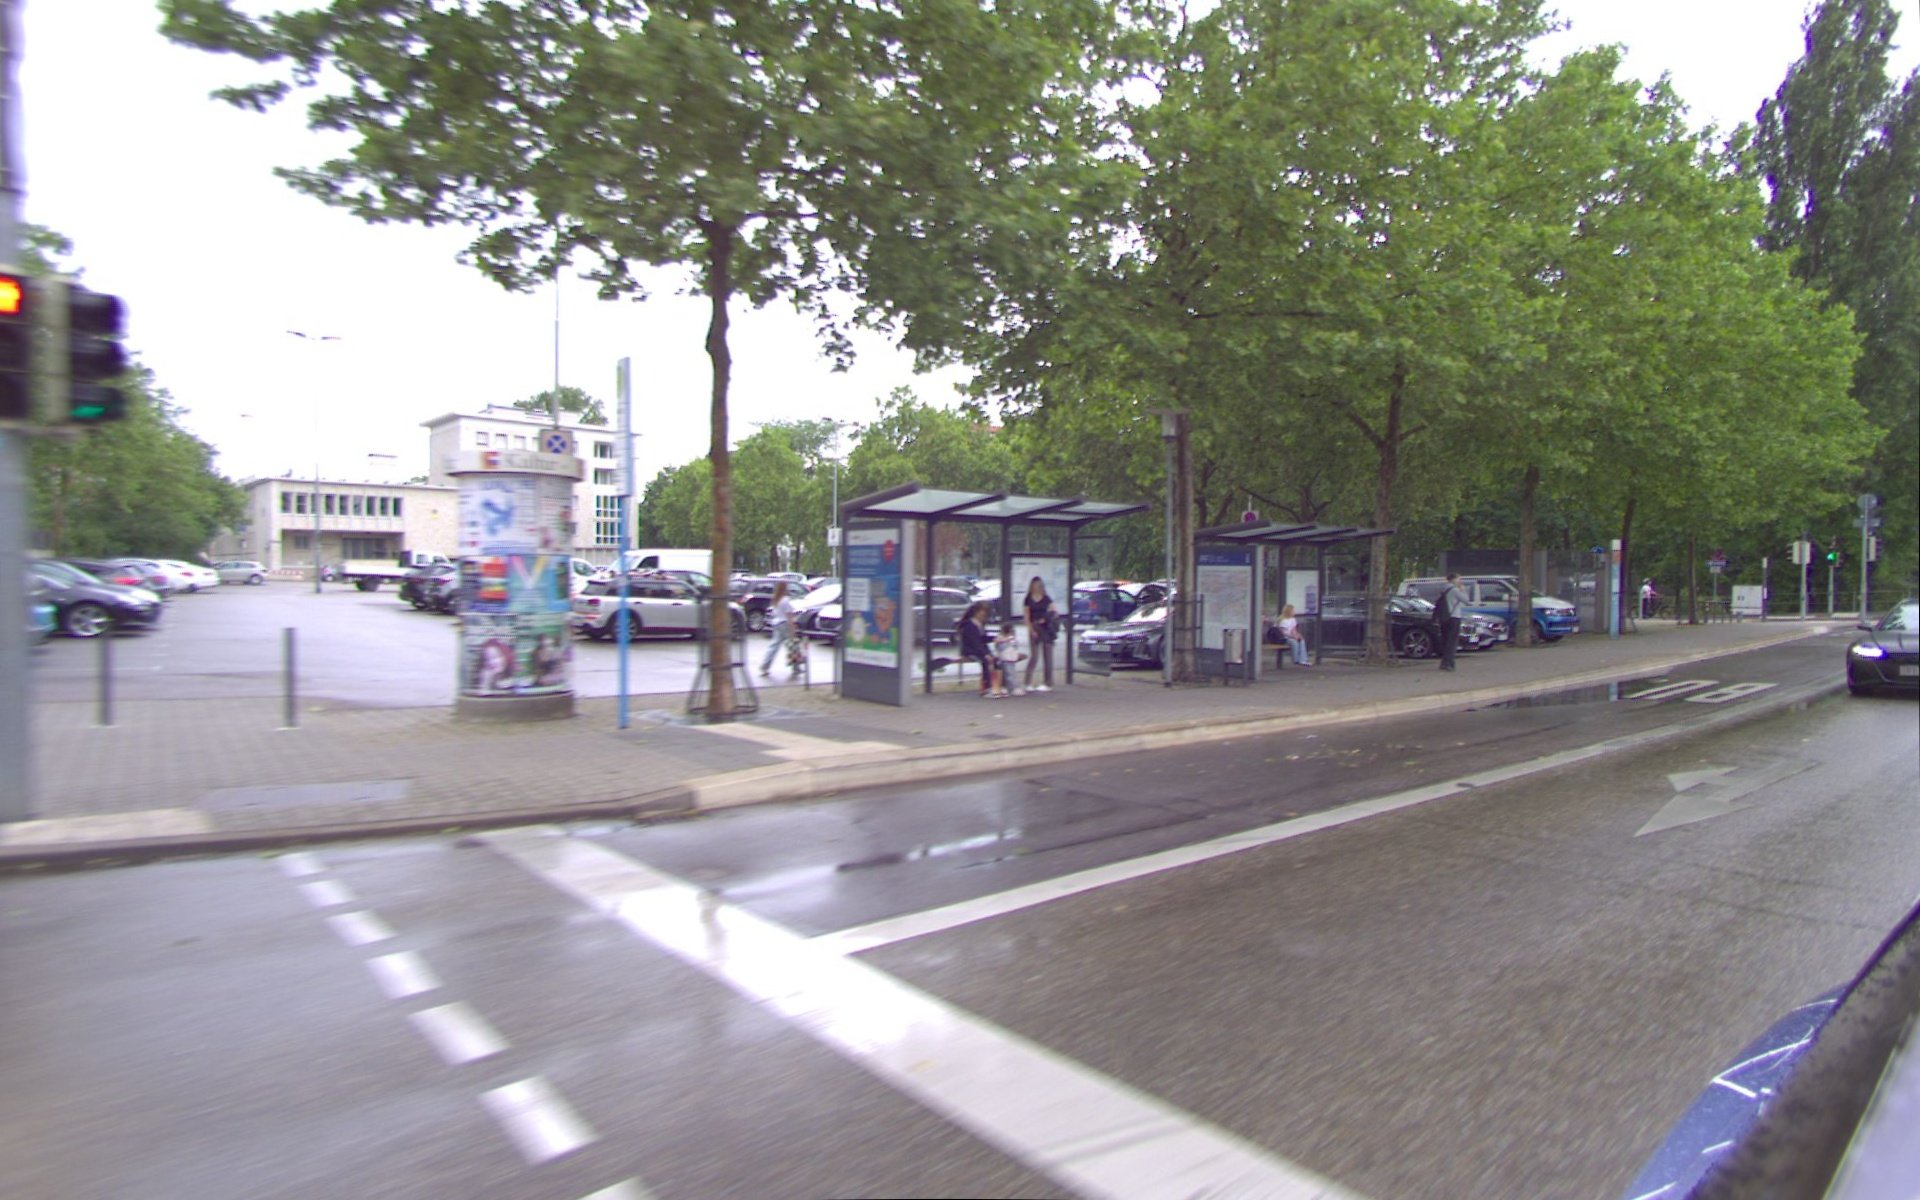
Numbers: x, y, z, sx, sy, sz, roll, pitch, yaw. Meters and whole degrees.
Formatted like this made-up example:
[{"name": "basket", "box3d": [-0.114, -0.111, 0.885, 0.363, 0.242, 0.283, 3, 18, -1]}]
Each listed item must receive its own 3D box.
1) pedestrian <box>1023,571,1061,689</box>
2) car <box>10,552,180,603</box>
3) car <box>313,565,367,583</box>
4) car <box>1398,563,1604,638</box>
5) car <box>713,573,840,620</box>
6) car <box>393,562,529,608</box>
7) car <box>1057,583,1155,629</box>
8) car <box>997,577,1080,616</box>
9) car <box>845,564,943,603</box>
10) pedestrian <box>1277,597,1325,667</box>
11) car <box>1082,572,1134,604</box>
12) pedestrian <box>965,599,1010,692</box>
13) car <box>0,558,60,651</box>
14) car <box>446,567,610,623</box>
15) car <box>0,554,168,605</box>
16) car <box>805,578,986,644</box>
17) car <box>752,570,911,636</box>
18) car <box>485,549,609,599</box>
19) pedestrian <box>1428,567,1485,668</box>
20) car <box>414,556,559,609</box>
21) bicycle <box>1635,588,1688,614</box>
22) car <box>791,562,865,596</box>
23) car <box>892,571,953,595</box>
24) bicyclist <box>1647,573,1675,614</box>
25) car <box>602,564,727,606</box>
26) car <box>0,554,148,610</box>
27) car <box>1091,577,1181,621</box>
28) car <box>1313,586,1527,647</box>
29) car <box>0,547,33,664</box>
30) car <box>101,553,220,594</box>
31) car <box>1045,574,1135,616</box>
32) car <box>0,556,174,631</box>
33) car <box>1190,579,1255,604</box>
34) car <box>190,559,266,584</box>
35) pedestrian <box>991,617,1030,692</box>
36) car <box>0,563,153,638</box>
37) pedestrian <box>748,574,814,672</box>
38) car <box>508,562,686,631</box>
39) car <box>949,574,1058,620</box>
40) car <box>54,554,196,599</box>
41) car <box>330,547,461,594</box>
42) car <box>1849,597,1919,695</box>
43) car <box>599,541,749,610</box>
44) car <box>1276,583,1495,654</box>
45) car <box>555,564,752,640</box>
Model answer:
[{"name": "pedestrian", "box3d": [1.229, 0.437, 15.144, 0.532, 1.717, 0.554, 1, 0, 6]}, {"name": "car", "box3d": [-29.436, -0.757, 34.642, 4.179, 1.631, 1.858, 0, 1, -32]}, {"name": "car", "box3d": [-56.115, -2.391, 91.620, 3.866, 1.566, 1.636, -2, 1, -45]}, {"name": "car", "box3d": [15.492, 0.068, 29.241, 1.916, 1.967, 4.844, -1, -1, -39]}, {"name": "car", "box3d": [-5.293, -0.088, 29.368, 3.299, 1.251, 1.529, 1, 2, -43]}, {"name": "car", "box3d": [-17.125, -0.493, 34.818, 3.927, 1.462, 1.660, 1, 1, -39]}, {"name": "car", "box3d": [4.972, 0.160, 34.294, 3.301, 1.440, 1.636, -2, 2, -45]}, {"name": "car", "box3d": [3.403, -0.139, 43.370, 3.571, 1.577, 1.529, 1, 1, -43]}, {"name": "car", "box3d": [-3.134, -0.770, 48.548, 1.967, 1.691, 4.557, 3, 2, 44]}, {"name": "pedestrian", "box3d": [6.696, 0.614, 19.866, 0.613, 1.338, 0.634, -1, 1, -28]}, {"name": "car", "box3d": [7.664, -0.671, 52.728, 1.718, 1.601, 4.006, 0, 2, -6]}, {"name": "pedestrian", "box3d": [0.388, 0.640, 14.427, 0.394, 1.287, 0.499, 1, 0, -40]}, {"name": "car", "box3d": [-16.771, 0.047, 15.680, 4.191, 1.458, 1.853, 0, 2, -43]}, {"name": "car", "box3d": [-12.176, -0.134, 28.627, 3.927, 1.467, 1.762, 1, 1, -39]}, {"name": "car", "box3d": [-26.804, -0.613, 30.756, 4.191, 1.458, 1.853, 0, 2, -43]}, {"name": "car", "box3d": [-1.517, 0.253, 25.058, 4.370, 1.458, 1.735, 1, 2, -44]}, {"name": "car", "box3d": [-3.391, 0.074, 27.164, 3.933, 1.610, 1.759, 1, 2, -43]}, {"name": "car", "box3d": [-16.695, -1.035, 41.025, 4.293, 1.853, 1.830, 1, 2, -45]}, {"name": "pedestrian", "box3d": [9.467, 0.314, 19.296, 0.745, 1.865, 0.732, -2, 1, -43]}, {"name": "car", "box3d": [-15.287, -0.549, 32.748, 3.927, 1.585, 1.762, 1, 1, -39]}, {"name": "bicycle", "box3d": [31.314, 0.037, 45.206, 1.918, 1.108, 0.643, 0, 2, 32]}, {"name": "car", "box3d": [-6.803, -1.080, 52.480, 3.549, 1.612, 1.530, 1, 1, -43]}, {"name": "car", "box3d": [-2.310, -1.034, 62.511, 3.538, 1.442, 1.637, -2, 1, -43]}, {"name": "bicyclist", "box3d": [31.267, -0.281, 45.167, 0.980, 1.792, 0.788, 0, 1, 32]}, {"name": "car", "box3d": [-9.563, -0.474, 32.876, 3.571, 1.251, 1.529, 1, 2, -43]}, {"name": "car", "box3d": [-24.210, -0.481, 26.745, 4.191, 1.415, 1.853, 0, 2, -43]}, {"name": "car", "box3d": [6.960, -0.030, 39.863, 3.548, 1.612, 1.570, 1, 1, -42]}, {"name": "car", "box3d": [11.905, 0.448, 26.482, 1.829, 1.423, 4.747, -1, -1, -39]}, {"name": "car", "box3d": [-15.267, 0.058, 13.565, 4.191, 1.633, 1.802, 0, 2, -43]}, {"name": "car", "box3d": [-35.297, -1.169, 44.796, 3.938, 1.697, 1.858, 0, 1, -32]}, {"name": "car", "box3d": [5.310, -0.181, 41.162, 3.545, 1.612, 1.531, 1, 1, -39]}, {"name": "car", "box3d": [-19.492, -0.163, 21.565, 4.191, 1.498, 1.853, 0, 2, -43]}, {"name": "car", "box3d": [16.783, -0.555, 64.825, 1.443, 1.481, 3.818, -1, 2, -45]}, {"name": "car", "box3d": [-45.409, -1.759, 62.864, 3.745, 1.439, 1.702, 0, 1, -35]}, {"name": "pedestrian", "box3d": [0.733, 0.782, 14.724, 0.364, 1.048, 0.401, 1, 0, -40]}, {"name": "car", "box3d": [-18.319, -0.013, 19.534, 4.191, 1.371, 1.853, 0, 2, -43]}, {"name": "pedestrian", "box3d": [-3.133, 0.384, 17.743, 0.846, 1.653, 0.766, 1, 0, -41]}, {"name": "car", "box3d": [-9.294, -0.085, 26.087, 3.933, 1.610, 1.759, 1, 2, -43]}, {"name": "car", "box3d": [1.672, -0.103, 37.979, 3.980, 1.584, 1.617, 1, 1, -39]}, {"name": "car", "box3d": [-33.501, -0.940, 40.743, 4.179, 1.697, 1.858, 0, 1, -32]}, {"name": "car", "box3d": [-31.237, -1.627, 56.129, 2.225, 2.389, 5.948, 3, 2, 44]}, {"name": "car", "box3d": [15.822, 0.651, 15.925, 4.280, 1.422, 1.896, -1, -1, -37]}, {"name": "car", "box3d": [-10.364, -0.845, 36.941, 1.967, 2.348, 4.933, 3, 1, 44]}, {"name": "car", "box3d": [9.984, 0.435, 23.987, 1.833, 1.503, 4.402, -1, -1, -44]}, {"name": "car", "box3d": [-7.184, 0.039, 23.990, 4.106, 1.610, 1.759, 1, 2, -43]}]
